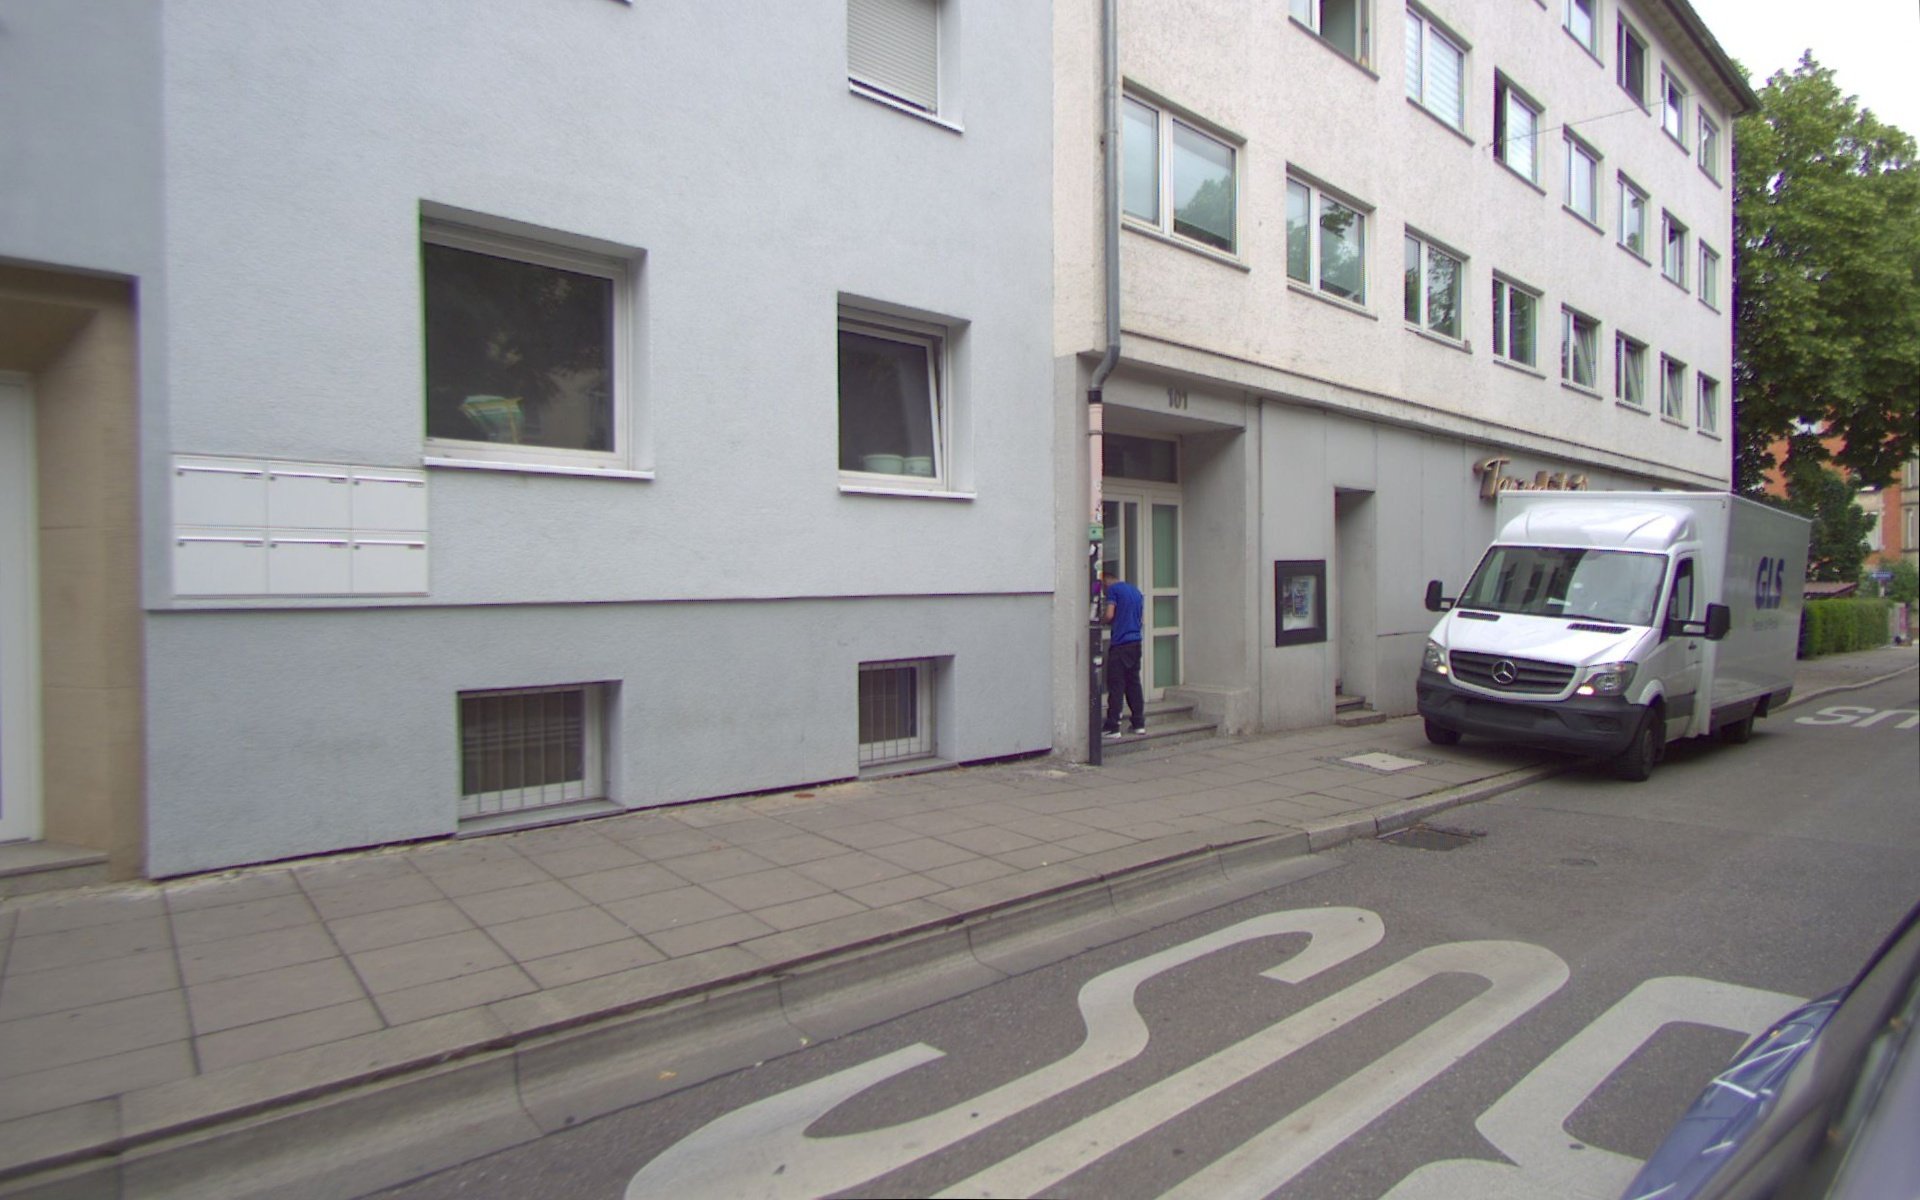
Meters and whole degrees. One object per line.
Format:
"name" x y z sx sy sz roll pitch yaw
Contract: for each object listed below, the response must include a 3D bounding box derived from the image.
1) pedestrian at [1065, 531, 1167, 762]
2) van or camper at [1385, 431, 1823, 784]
"pedestrian" 1.448 0.407 9.386 0.674 2.039 0.635 1 -1 -41
"van or camper" 7.641 0.079 11.495 7.115 2.838 2.483 1 0 -43
